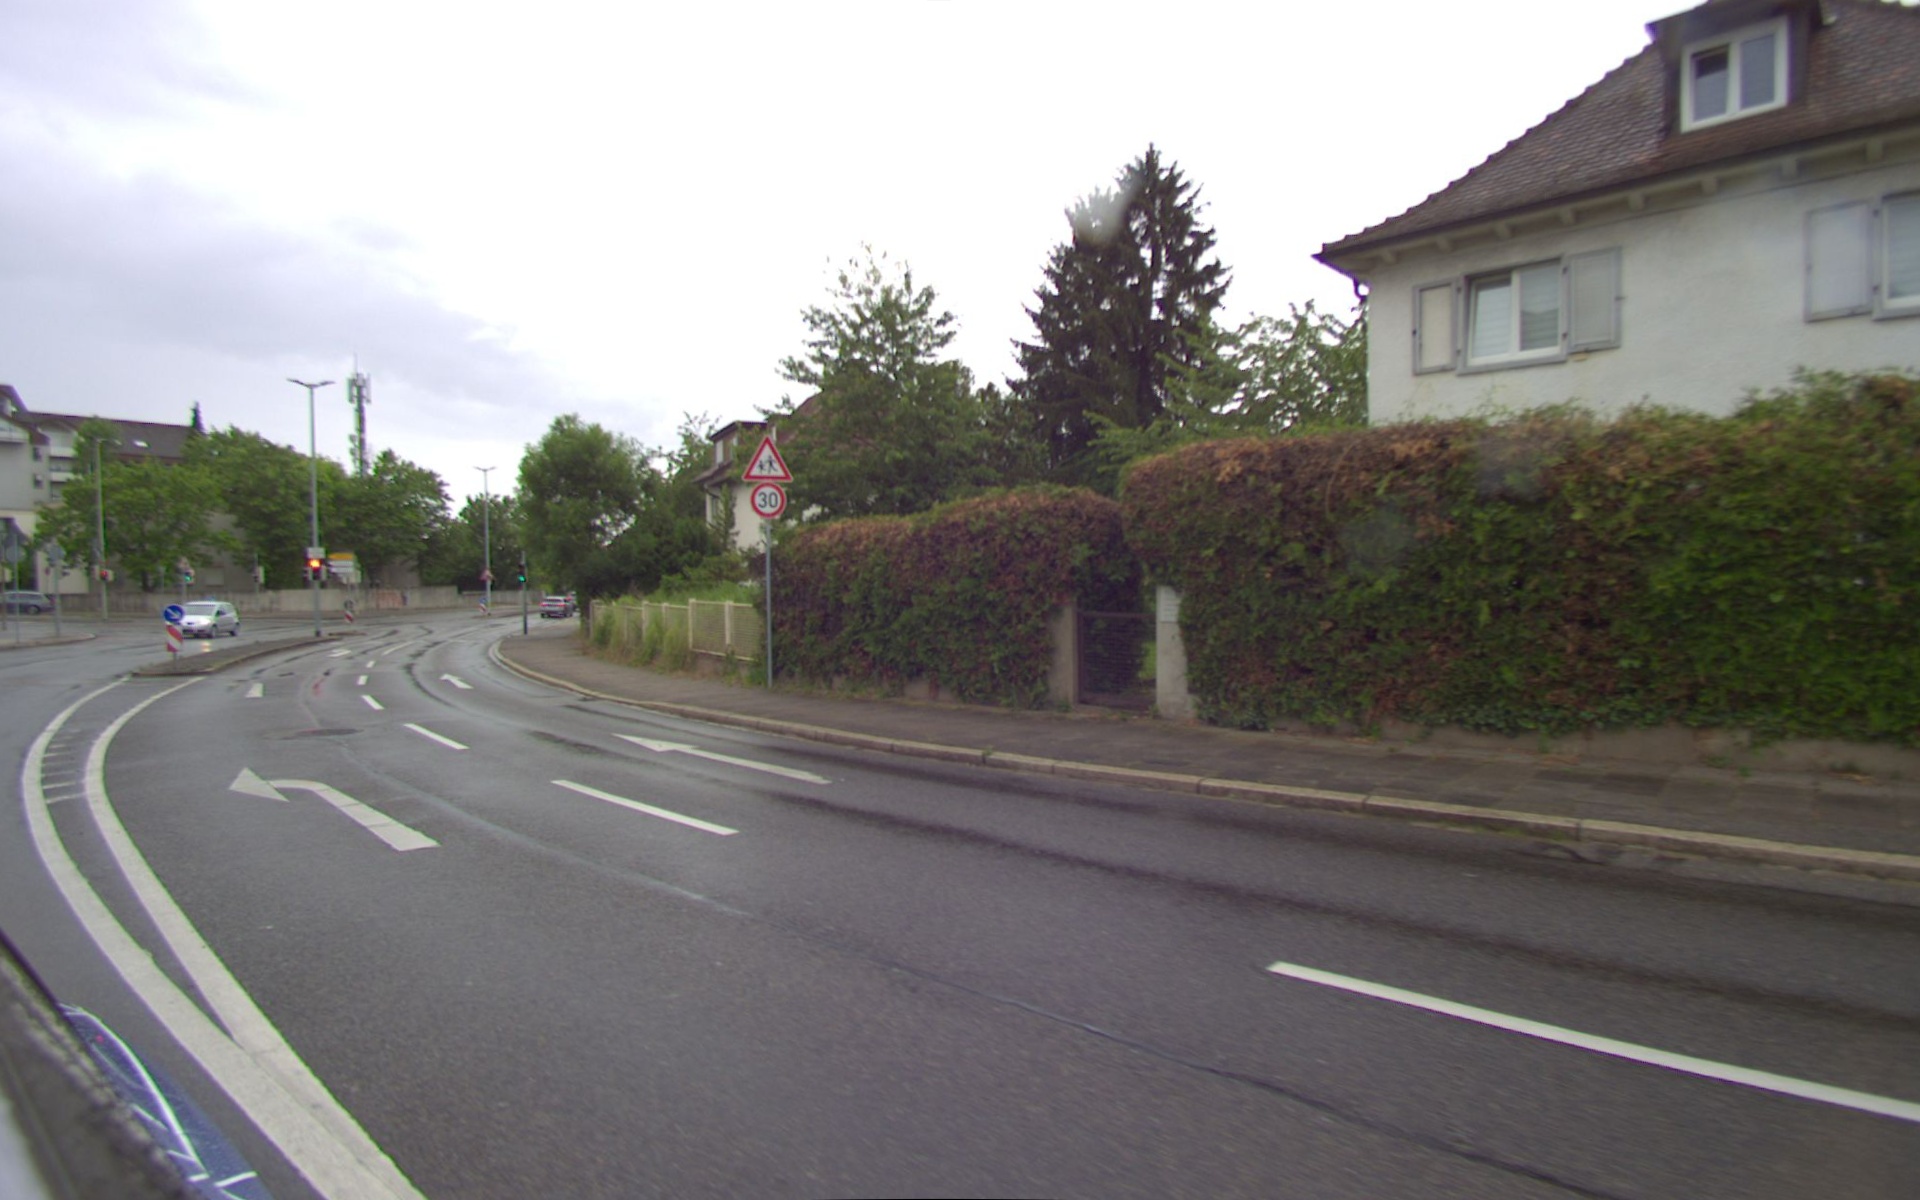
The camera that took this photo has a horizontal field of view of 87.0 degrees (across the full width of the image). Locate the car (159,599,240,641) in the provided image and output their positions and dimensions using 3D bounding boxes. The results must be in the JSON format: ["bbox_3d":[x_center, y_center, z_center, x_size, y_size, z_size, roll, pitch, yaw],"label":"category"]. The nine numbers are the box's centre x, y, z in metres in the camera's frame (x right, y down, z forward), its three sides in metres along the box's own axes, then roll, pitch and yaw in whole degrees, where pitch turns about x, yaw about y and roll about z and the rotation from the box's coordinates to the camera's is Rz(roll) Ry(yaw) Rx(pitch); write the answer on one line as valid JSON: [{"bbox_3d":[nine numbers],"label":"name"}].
[{"bbox_3d":[-32.980,0.820,44.008,1.965,1.669,4.014,0,1,-24],"label":"car"}]

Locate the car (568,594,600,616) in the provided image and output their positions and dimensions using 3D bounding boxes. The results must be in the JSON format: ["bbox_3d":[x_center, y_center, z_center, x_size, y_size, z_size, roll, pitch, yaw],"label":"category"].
[{"bbox_3d":[-32.150,0.410,86.666,1.858,1.690,4.241,0,1,-10],"label":"car"}]

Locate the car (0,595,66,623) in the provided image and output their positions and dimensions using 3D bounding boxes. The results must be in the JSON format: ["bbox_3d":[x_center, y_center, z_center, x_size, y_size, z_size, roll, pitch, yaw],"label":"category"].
[{"bbox_3d":[-60.374,0.559,65.138,4.159,1.669,2.004,-1,2,-40],"label":"car"}]

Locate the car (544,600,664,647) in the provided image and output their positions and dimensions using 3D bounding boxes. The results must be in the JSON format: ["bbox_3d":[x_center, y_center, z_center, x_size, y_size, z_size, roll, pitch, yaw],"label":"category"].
[{"bbox_3d":[-13.381,0.841,38.074,3.932,1.405,1.939,-5,2,-28],"label":"car"}]

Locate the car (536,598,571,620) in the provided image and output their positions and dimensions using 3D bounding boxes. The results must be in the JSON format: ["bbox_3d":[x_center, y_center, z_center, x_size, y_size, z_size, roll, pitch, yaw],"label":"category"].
[{"bbox_3d":[-29.584,0.658,73.826,1.653,1.460,4.701,0,1,-13],"label":"car"}]
